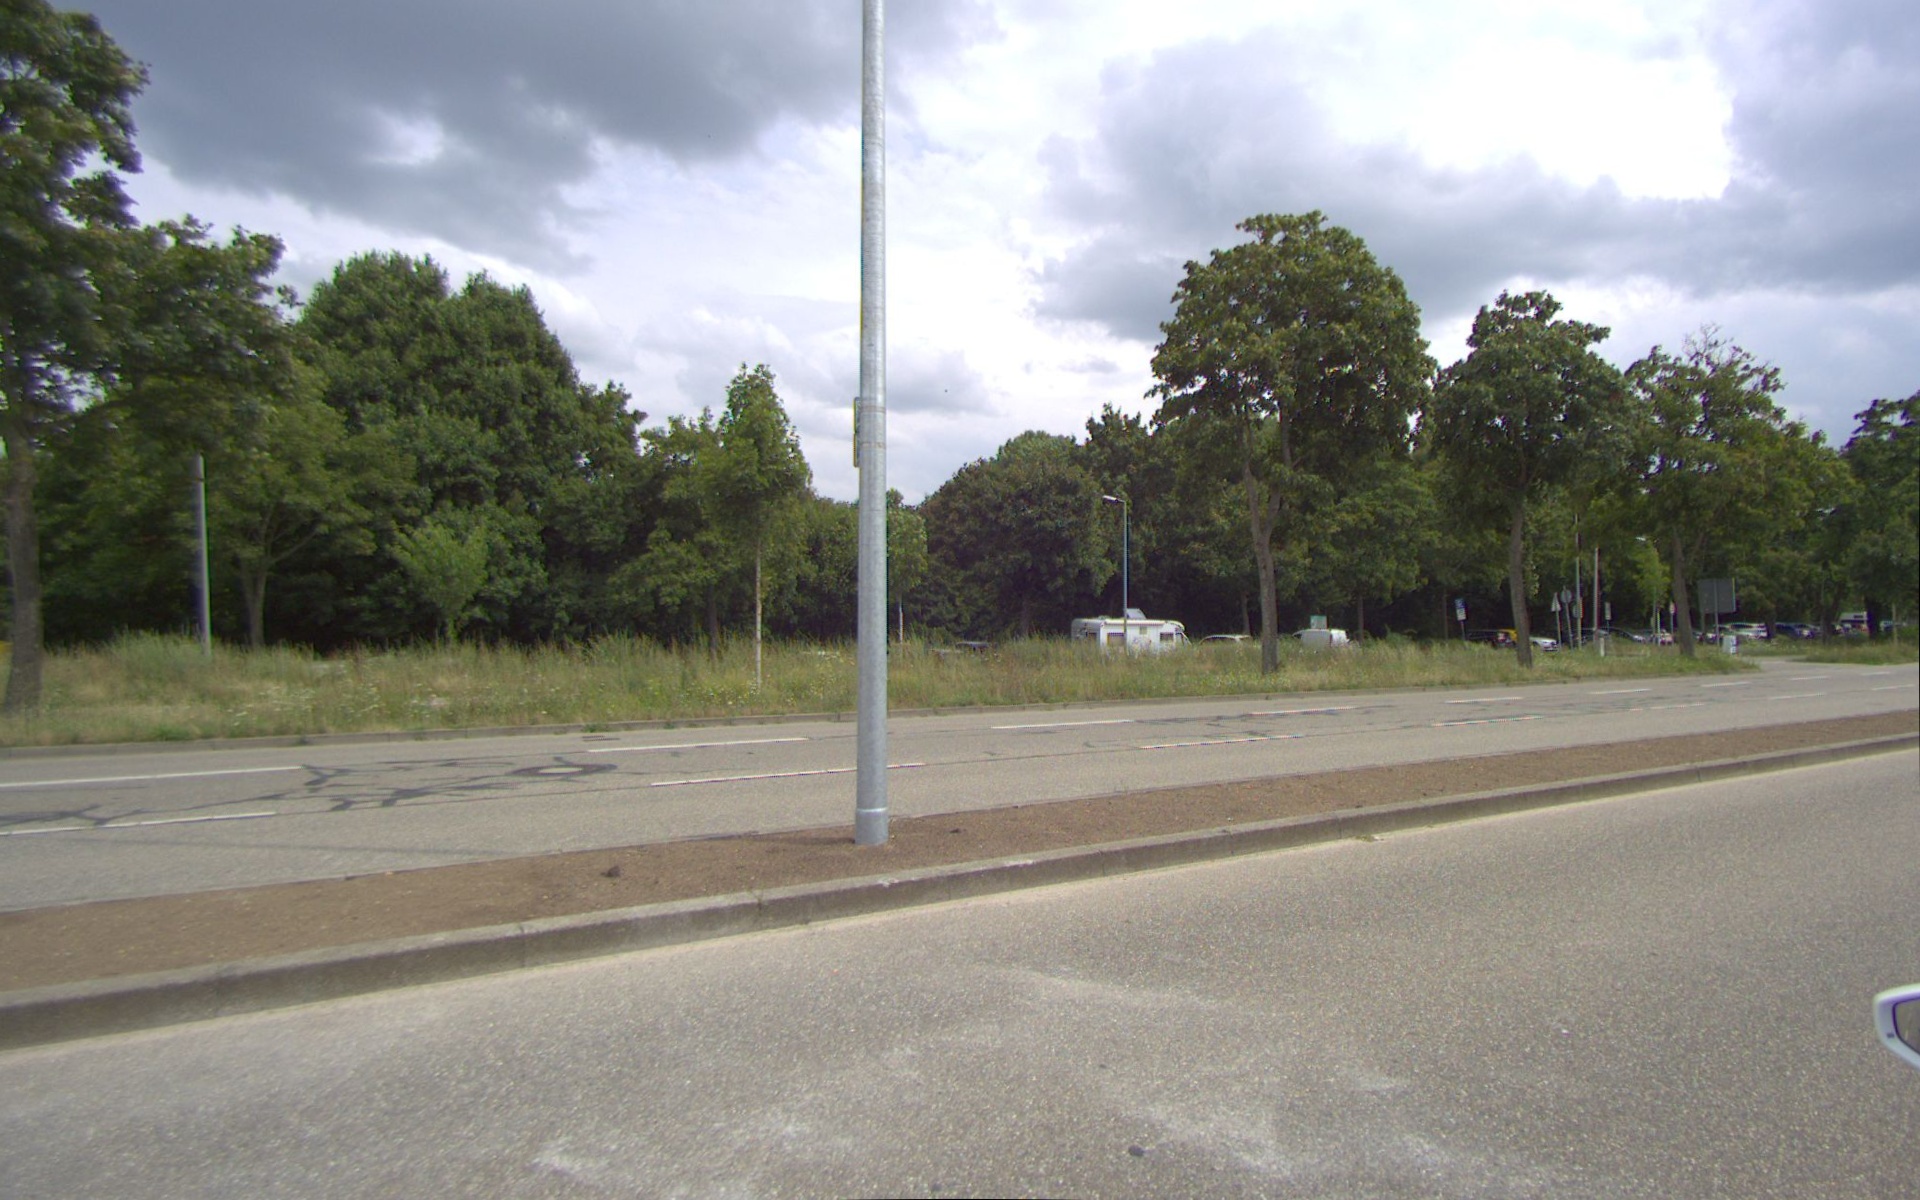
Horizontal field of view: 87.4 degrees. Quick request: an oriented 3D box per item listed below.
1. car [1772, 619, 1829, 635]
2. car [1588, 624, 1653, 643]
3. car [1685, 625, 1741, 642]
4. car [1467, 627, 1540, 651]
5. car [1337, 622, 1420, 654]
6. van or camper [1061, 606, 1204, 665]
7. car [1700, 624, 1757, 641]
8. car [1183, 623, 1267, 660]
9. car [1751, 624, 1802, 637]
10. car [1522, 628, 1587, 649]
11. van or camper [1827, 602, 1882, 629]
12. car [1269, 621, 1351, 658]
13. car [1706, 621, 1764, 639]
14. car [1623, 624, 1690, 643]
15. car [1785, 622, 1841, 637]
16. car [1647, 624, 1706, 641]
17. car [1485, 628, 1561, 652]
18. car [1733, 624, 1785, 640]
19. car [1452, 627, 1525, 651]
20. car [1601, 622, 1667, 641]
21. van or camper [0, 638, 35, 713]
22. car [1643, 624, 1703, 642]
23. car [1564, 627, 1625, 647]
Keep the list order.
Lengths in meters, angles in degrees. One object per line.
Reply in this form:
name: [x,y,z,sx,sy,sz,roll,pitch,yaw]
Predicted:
car: [79.587,2.566,95.130,1.977,1.428,3.712,0,-1,-31]
car: [51.218,2.563,77.960,1.647,1.378,3.970,0,-1,-29]
car: [64.987,2.868,86.742,1.499,1.430,3.633,0,-1,-29]
car: [36.380,2.609,67.349,1.764,1.518,3.969,0,-1,-30]
car: [23.905,2.136,57.540,2.023,1.736,3.967,0,-1,-31]
van or camper: [8.128,1.591,47.073,6.643,2.574,2.459,0,-1,-31]
car: [67.161,2.837,87.844,1.499,1.430,3.633,0,-1,-29]
car: [13.366,2.048,50.849,1.865,1.739,3.966,0,-1,-32]
car: [75.220,2.824,92.572,1.424,1.108,3.351,0,-1,-30]
car: [41.710,2.679,70.547,1.499,1.430,3.633,0,-1,-29]
van or camper: [95.672,1.682,107.469,1.905,2.793,3.966,0,-1,-32]
car: [19.221,2.145,55.326,1.917,1.912,3.967,0,-1,-31]
car: [69.080,2.670,89.569,1.860,1.539,3.633,0,-1,-29]
car: [55.773,2.657,80.443,1.974,1.429,3.973,0,-1,-27]
car: [83.275,2.880,98.076,1.942,1.445,3.756,0,-1,-29]
car: [59.397,2.681,83.291,1.687,1.378,3.630,0,-1,-29]
car: [38.343,2.697,68.512,1.863,1.518,4.161,0,-1,-30]
car: [73.231,2.897,92.084,1.306,1.430,3.534,0,-1,-29]
car: [34.880,2.558,66.336,1.764,1.518,3.969,0,-1,-30]
car: [53.209,2.455,79.403,1.800,1.378,3.970,0,-1,-29]
van or camper: [-28.170,2.186,28.015,1.970,2.040,4.346,1,0,-21]
car: [57.876,2.627,81.617,1.687,1.378,3.630,0,-1,-29]
car: [47.668,2.740,75.515,1.499,1.430,3.633,0,-1,-29]
